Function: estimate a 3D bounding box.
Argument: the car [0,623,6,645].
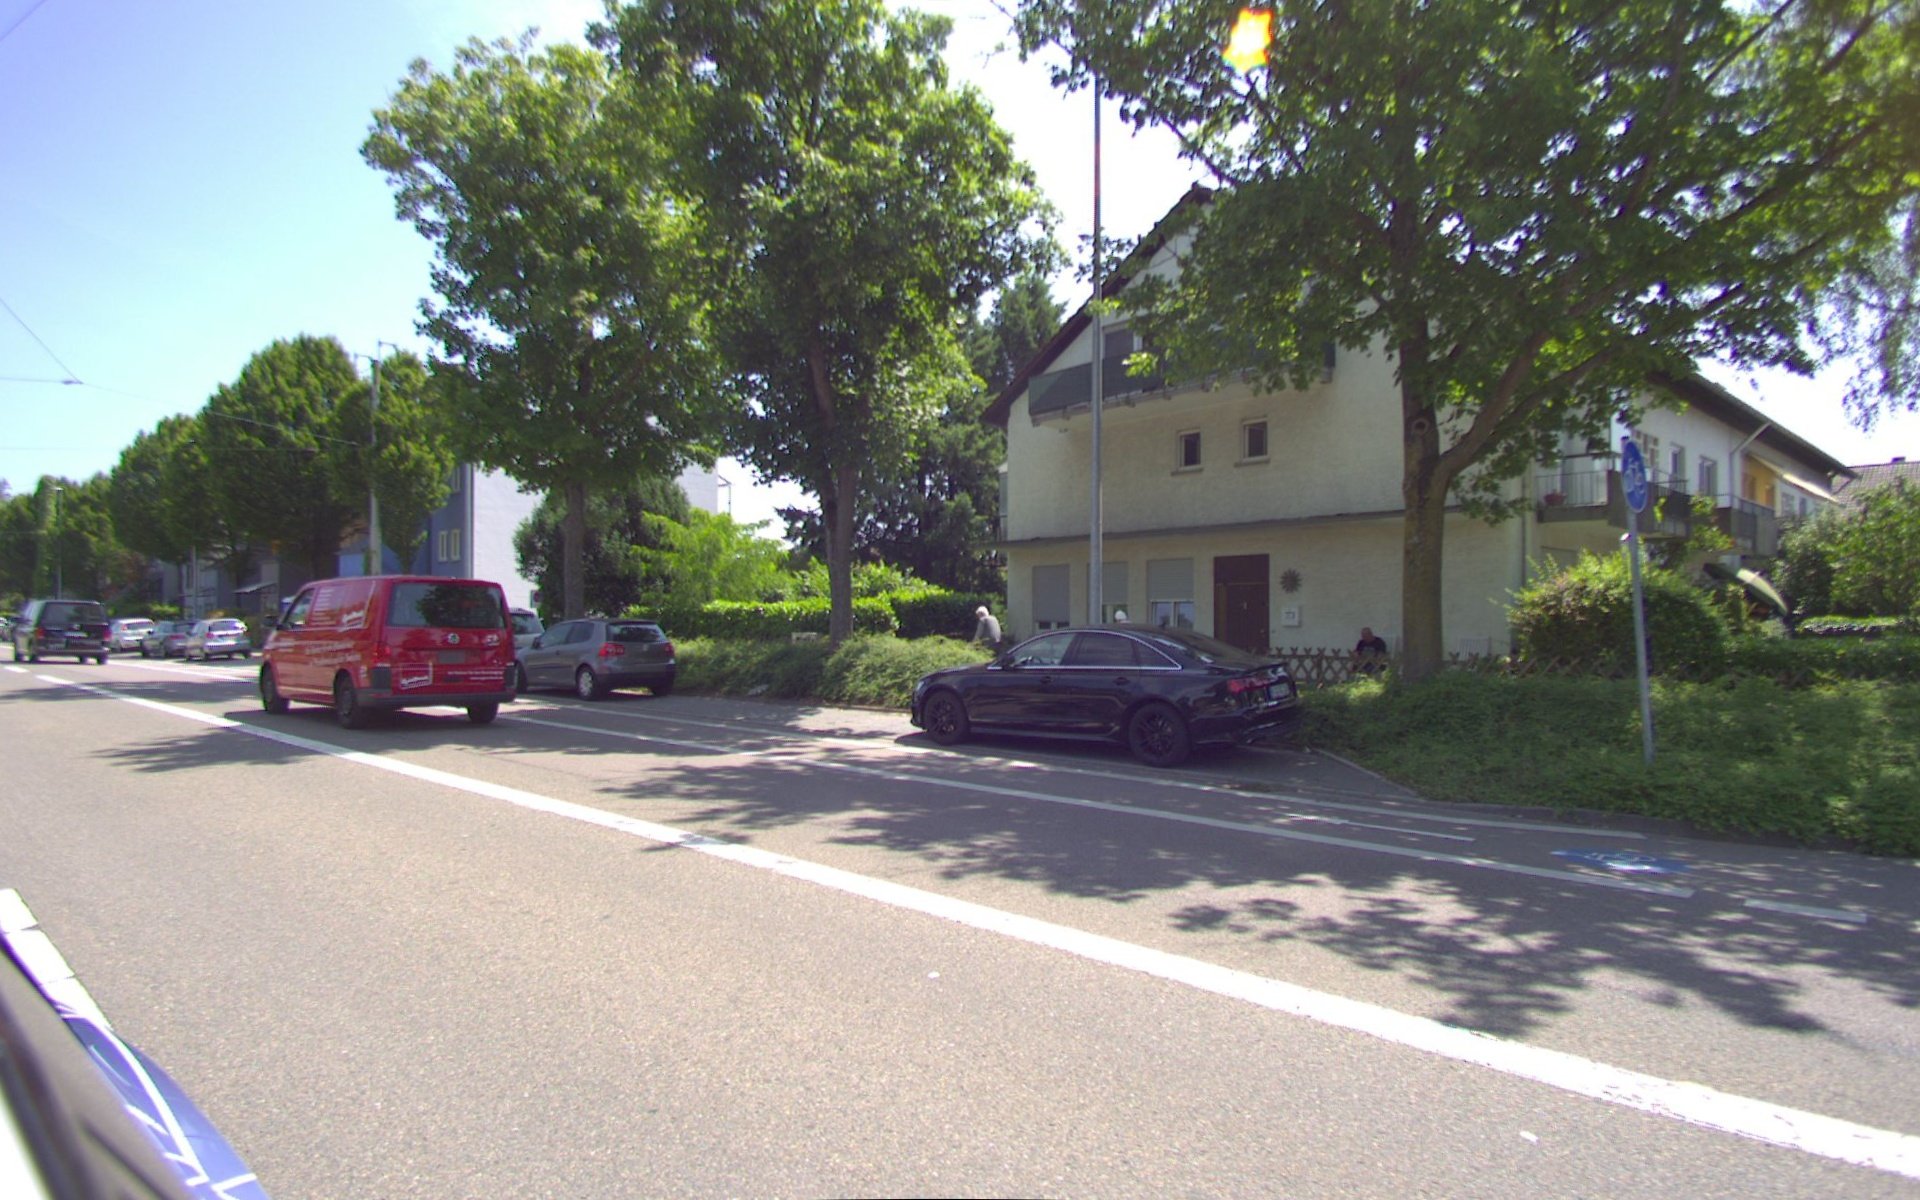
[{"bbox_3d":[-69.508,2.457,72.060,4.078,1.507,1.702,-1,2,40],"label":"car"}]

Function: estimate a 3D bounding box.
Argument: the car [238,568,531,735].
[{"bbox_3d":[-8.061,0.670,13.984,4.815,1.941,1.880,-1,-3,40],"label":"car"}]

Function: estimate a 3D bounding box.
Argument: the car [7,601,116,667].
[{"bbox_3d":[-28.015,1.047,31.506,4.568,1.925,1.898,-1,-3,41],"label":"car"}]

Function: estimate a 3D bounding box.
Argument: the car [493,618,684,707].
[{"bbox_3d":[-7.204,1.115,19.456,4.125,1.498,1.659,-1,-1,41],"label":"car"}]

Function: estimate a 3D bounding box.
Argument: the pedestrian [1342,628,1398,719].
[{"bbox_3d":[7.075,1.243,17.473,0.784,1.522,0.609,2,-2,-42],"label":"pedestrian"}]

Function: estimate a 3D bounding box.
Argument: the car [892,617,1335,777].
[{"bbox_3d":[1.613,0.953,11.754,4.804,1.467,1.876,-1,-1,39],"label":"car"}]

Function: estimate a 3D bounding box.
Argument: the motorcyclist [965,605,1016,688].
[{"bbox_3d":[0.581,0.865,19.256,0.725,1.514,0.580,-1,1,42],"label":"motorcyclist"}]

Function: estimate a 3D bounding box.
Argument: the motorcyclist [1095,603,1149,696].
[{"bbox_3d":[2.754,0.823,17.174,0.662,1.514,0.580,-1,1,42],"label":"motorcyclist"}]

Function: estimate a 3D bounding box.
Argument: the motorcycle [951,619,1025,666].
[{"bbox_3d":[0.527,0.799,19.299,1.370,0.832,0.520,-1,1,42],"label":"motorcycle"}]

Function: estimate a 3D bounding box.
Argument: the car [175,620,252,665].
[{"bbox_3d":[-27.680,1.531,37.495,3.279,1.507,1.487,-1,2,40],"label":"car"}]

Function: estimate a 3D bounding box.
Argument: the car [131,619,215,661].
[{"bbox_3d":[-31.787,1.580,40.851,4.634,1.507,1.659,-1,2,40],"label":"car"}]

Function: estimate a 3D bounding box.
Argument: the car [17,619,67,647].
[{"bbox_3d":[-55.765,1.987,61.438,4.078,1.507,1.636,-1,2,40],"label":"car"}]

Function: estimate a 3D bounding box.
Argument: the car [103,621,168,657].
[{"bbox_3d":[-38.824,1.794,47.634,3.646,1.507,1.636,-1,2,40],"label":"car"}]
